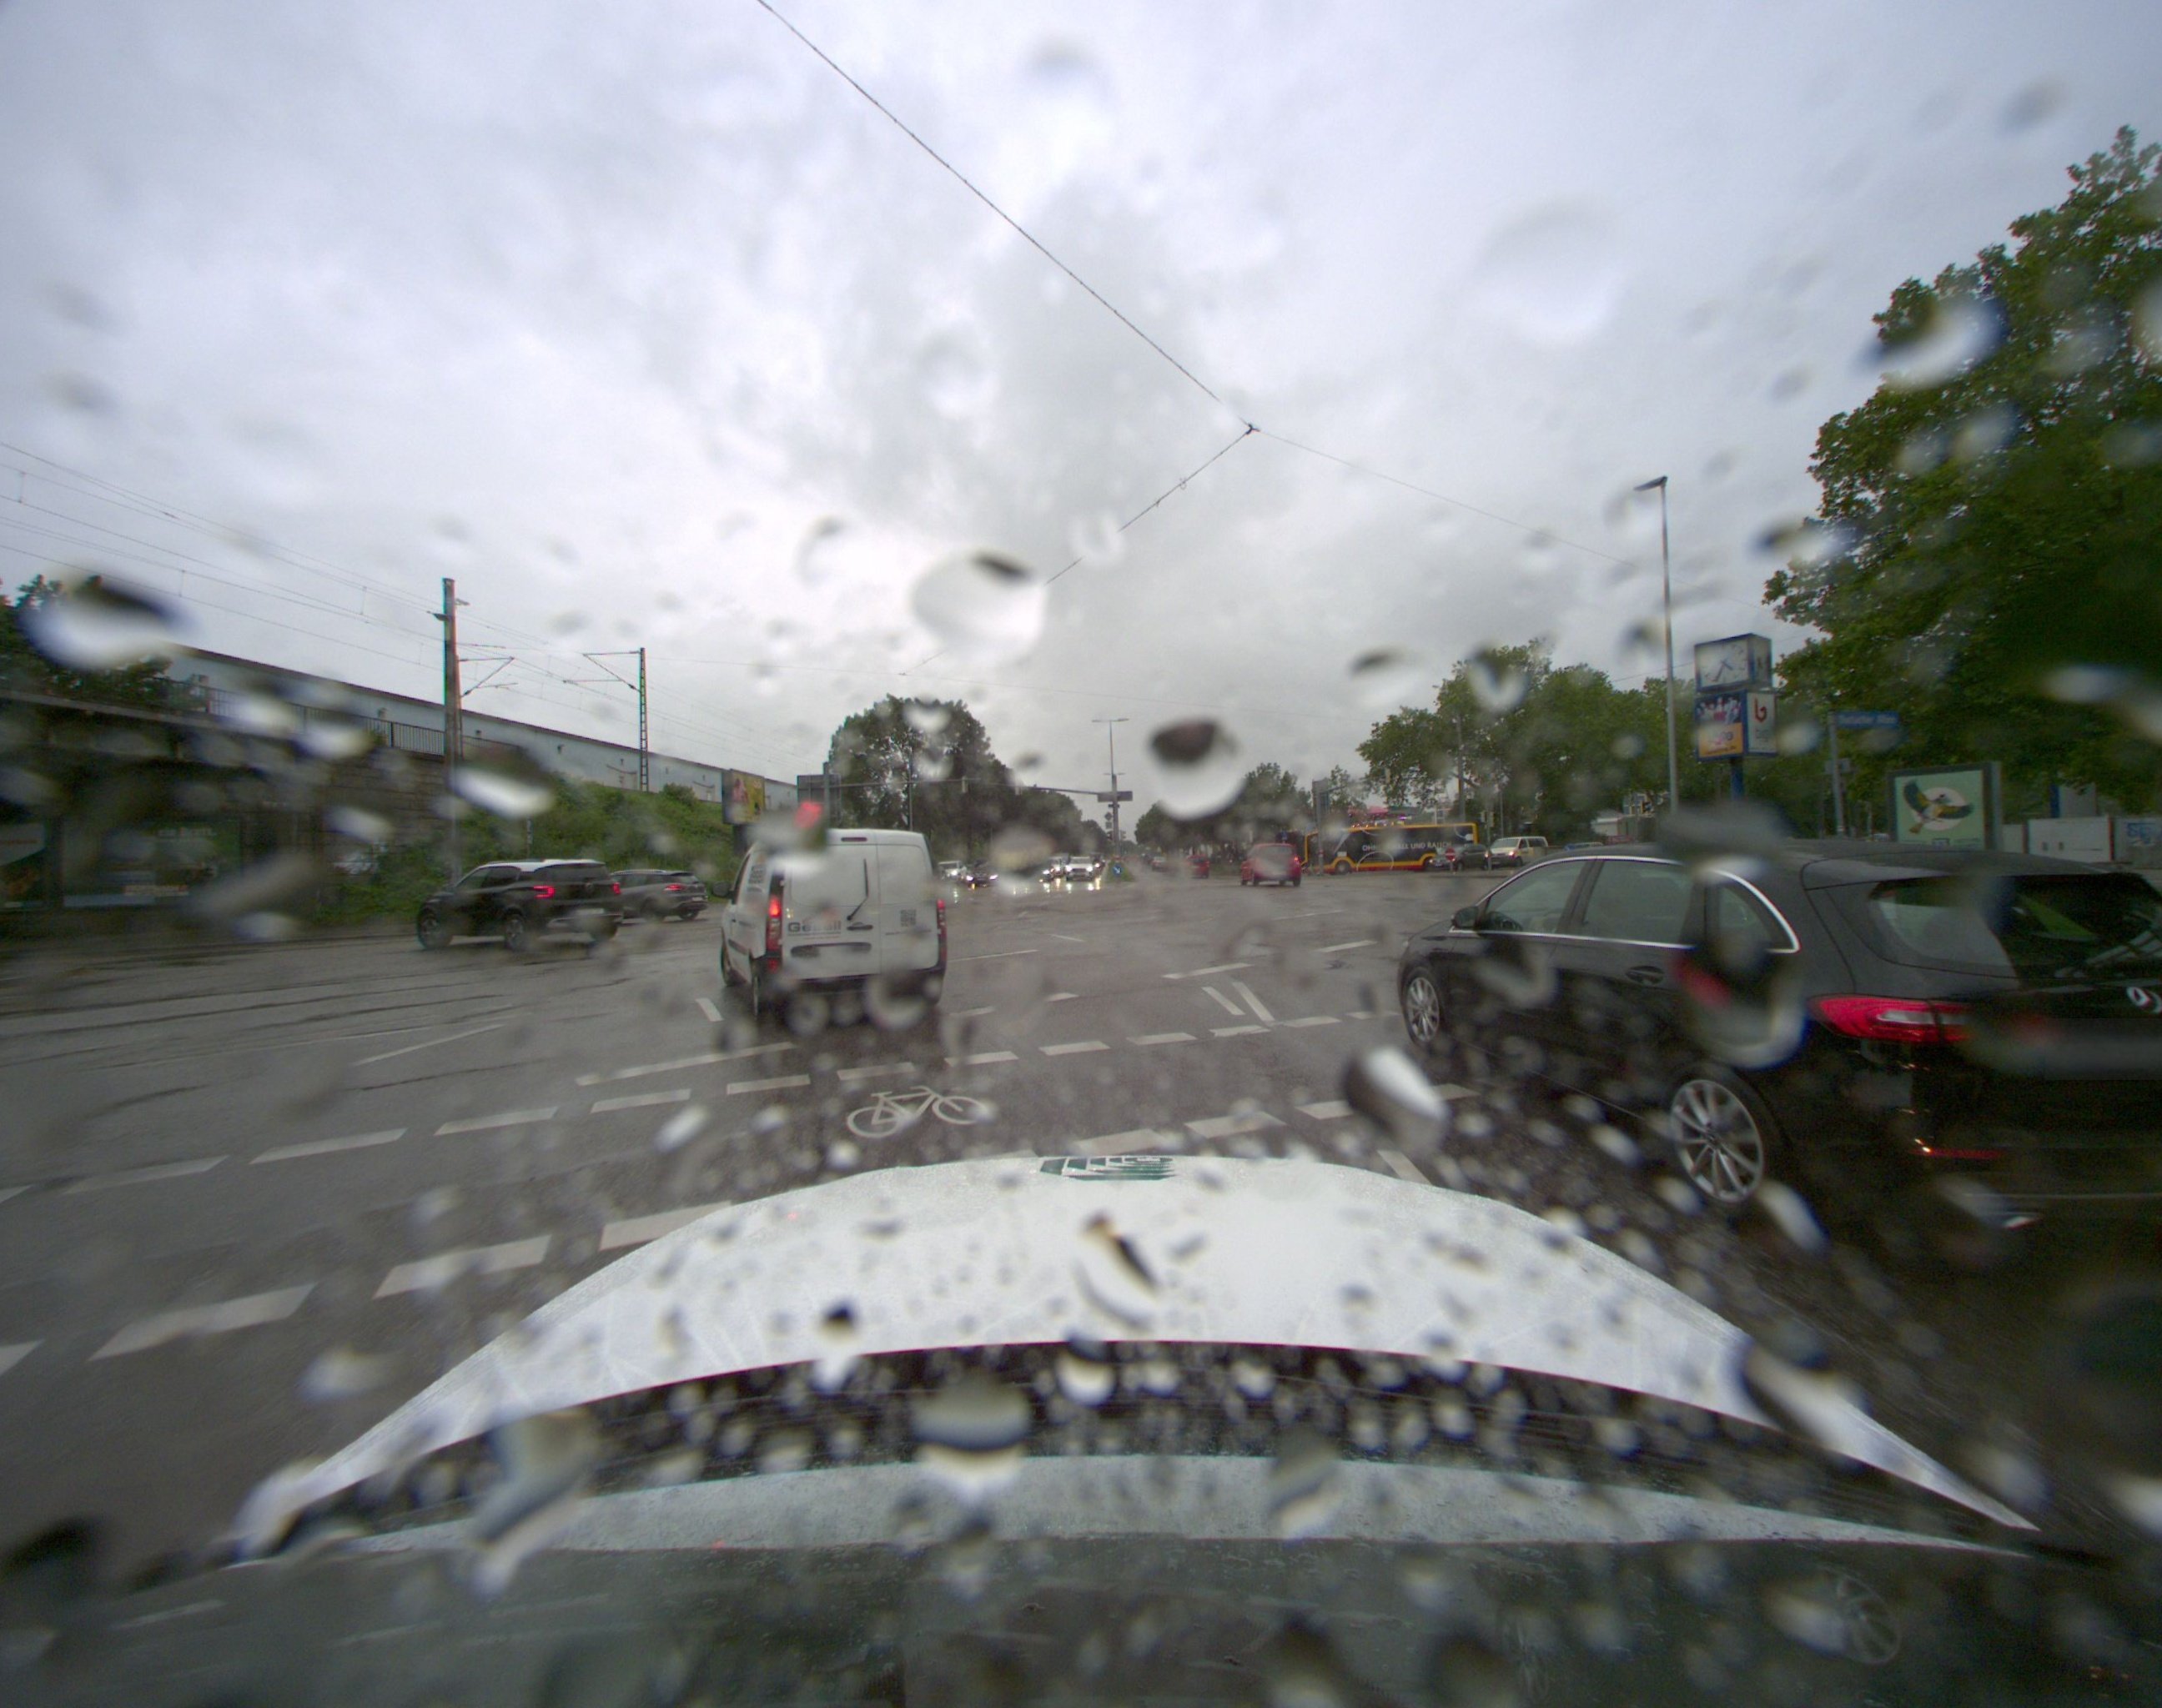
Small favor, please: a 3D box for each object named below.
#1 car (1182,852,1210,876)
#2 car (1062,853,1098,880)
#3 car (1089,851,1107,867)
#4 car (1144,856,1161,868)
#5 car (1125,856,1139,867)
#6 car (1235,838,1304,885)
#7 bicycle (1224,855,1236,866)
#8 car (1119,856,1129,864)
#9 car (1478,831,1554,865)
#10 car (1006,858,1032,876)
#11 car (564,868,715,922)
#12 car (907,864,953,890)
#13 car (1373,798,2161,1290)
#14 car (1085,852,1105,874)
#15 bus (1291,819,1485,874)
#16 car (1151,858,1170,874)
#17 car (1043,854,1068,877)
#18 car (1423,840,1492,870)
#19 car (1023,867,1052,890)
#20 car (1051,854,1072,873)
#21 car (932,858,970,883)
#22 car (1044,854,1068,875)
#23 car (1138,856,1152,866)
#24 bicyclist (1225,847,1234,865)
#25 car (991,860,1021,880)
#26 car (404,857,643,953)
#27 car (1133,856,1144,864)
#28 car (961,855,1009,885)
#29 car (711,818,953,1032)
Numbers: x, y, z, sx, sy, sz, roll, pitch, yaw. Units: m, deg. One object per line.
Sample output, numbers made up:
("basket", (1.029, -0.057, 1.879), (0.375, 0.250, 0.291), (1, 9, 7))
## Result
("car", (8.104, 0.700, 57.840), (1.626, 1.655, 3.486), (0, 0, 2))
("car", (-0.023, 0.868, 57.292), (2.160, 1.720, 4.308), (-2, 0, 4))
("car", (1.921, 0.540, 93.631), (1.932, 1.720, 3.999), (-2, 0, -1))
("car", (10.120, 1.098, 115.555), (1.989, 1.618, 4.001), (-2, 0, 2))
("car", (7.793, 1.139, 125.246), (1.989, 1.618, 4.001), (-2, 0, 2))
("car", (6.538, 0.246, 28.541), (1.672, 1.491, 3.623), (-1, 0, 2))
("bicycle", (16.351, 0.732, 89.457), (0.816, 1.165, 2.259), (-2, 0, -1))
("car", (9.718, 1.267, 183.247), (1.989, 1.618, 4.001), (-2, 0, 2))
("car", (26.264, -0.385, 49.155), (4.766, 1.849, 2.056), (-2, 0, -35))
("car", (-5.227, 1.107, 69.154), (1.821, 1.358, 3.999), (-2, 0, -1))
("car", (-12.169, 1.116, 22.538), (3.230, 1.283, 1.689), (-2, 0, 6))
("car", (-8.822, 1.311, 47.978), (1.886, 1.349, 4.000), (-2, 0, 0))
("car", (3.393, 0.579, 4.659), (1.865, 1.523, 4.085), (-2, 0, -1))
("car", (1.161, 0.763, 68.669), (1.595, 1.720, 3.999), (-2, 0, -1))
("bus", (21.132, -0.510, 56.644), (12.207, 3.268, 3.275), (-2, 0, 1))
("car", (8.116, 1.187, 83.498), (1.835, 1.618, 4.003), (0, 0, 3))
("car", (-2.050, 0.908, 66.544), (1.858, 1.720, 4.001), (-2, 0, 1))
("car", (23.317, 0.068, 50.429), (4.360, 1.651, 1.913), (-2, 0, -35))
("car", (-2.993, 1.633, 55.534), (1.823, 1.358, 3.994), (-2, 0, -4))
("car", (-1.832, 0.908, 77.736), (1.648, 1.720, 4.002), (-2, 0, 2))
("car", (-8.624, 1.087, 54.309), (1.821, 1.482, 3.999), (-2, 0, -1))
("car", (-2.172, 0.899, 72.867), (1.838, 1.720, 4.002), (-2, 0, 2))
("car", (10.488, 1.128, 133.665), (1.989, 1.618, 4.001), (-2, 0, 2))
("bicyclist", (16.328, 0.208, 89.510), (0.765, 1.881, 0.622), (-3, 0, -1))
("car", (-5.625, 1.203, 61.567), (1.821, 1.358, 4.000), (-2, 0, 0))
("car", (-10.705, 0.940, 15.657), (3.951, 1.609, 1.935), (-2, 0, 24))
("car", (12.418, 1.245, 175.844), (1.989, 1.618, 4.001), (-2, 0, 2))
("car", (-5.796, 0.954, 49.809), (2.012, 1.657, 4.068), (-2, 0, 5))
("car", (-2.919, 0.586, 8.930), (1.766, 1.777, 3.963), (0, 0, -29))
